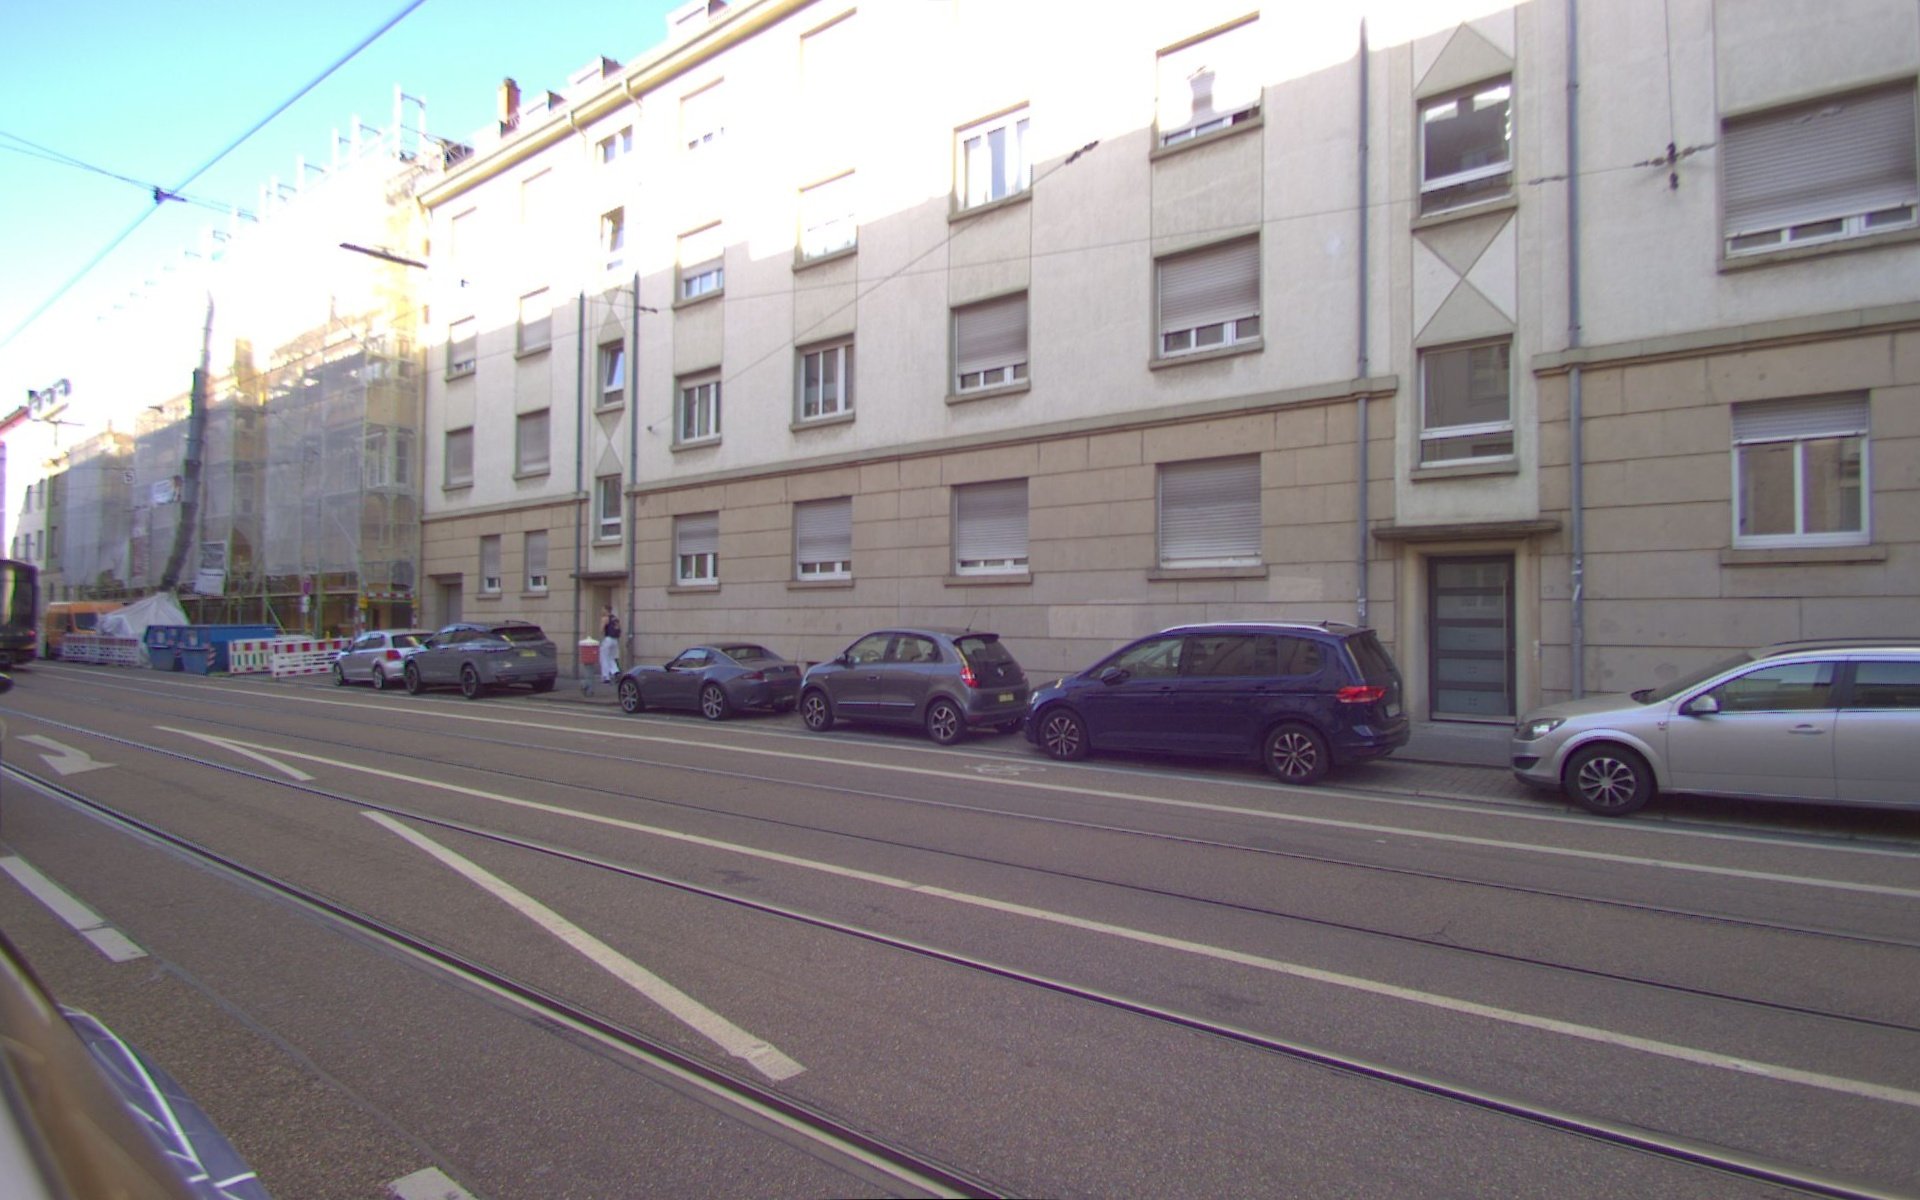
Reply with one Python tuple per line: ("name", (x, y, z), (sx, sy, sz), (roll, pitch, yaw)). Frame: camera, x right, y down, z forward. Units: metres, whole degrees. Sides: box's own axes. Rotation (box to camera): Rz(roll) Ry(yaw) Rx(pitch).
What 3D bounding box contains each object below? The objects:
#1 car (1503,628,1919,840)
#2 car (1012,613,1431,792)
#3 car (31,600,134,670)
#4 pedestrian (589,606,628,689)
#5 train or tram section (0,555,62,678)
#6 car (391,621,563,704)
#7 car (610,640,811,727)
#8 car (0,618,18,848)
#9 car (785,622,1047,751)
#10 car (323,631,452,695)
("car", (7.109, 1.013, 8.426), (4.363, 1.465, 1.709), (-1, 1, 37))
("car", (2.889, 1.007, 11.640), (4.318, 1.645, 1.798), (-1, 1, 37))
("car", (-36.470, 1.391, 42.004), (5.866, 2.717, 2.188), (-1, 0, 39))
("pedestrian", (-8.178, 1.096, 23.571), (0.762, 1.886, 0.513), (-1, 0, 38))
("train or tram section", (-33.275, 0.543, 33.557), (13.024, 3.589, 2.832), (-1, -2, 38))
("car", (-10.844, 1.322, 22.641), (4.152, 1.621, 1.731), (-1, 1, 37))
("car", (-4.354, 1.373, 17.455), (3.518, 1.229, 1.458), (-1, 1, 37))
("car", (-7.962, 0.873, 6.963), (3.814, 1.436, 1.706), (-2, -3, 40))
("car", (-0.703, 1.144, 14.640), (3.591, 1.570, 1.624), (-1, 1, 38))
("car", (-14.423, 1.527, 25.434), (3.502, 1.390, 1.546), (-1, 1, 37))
